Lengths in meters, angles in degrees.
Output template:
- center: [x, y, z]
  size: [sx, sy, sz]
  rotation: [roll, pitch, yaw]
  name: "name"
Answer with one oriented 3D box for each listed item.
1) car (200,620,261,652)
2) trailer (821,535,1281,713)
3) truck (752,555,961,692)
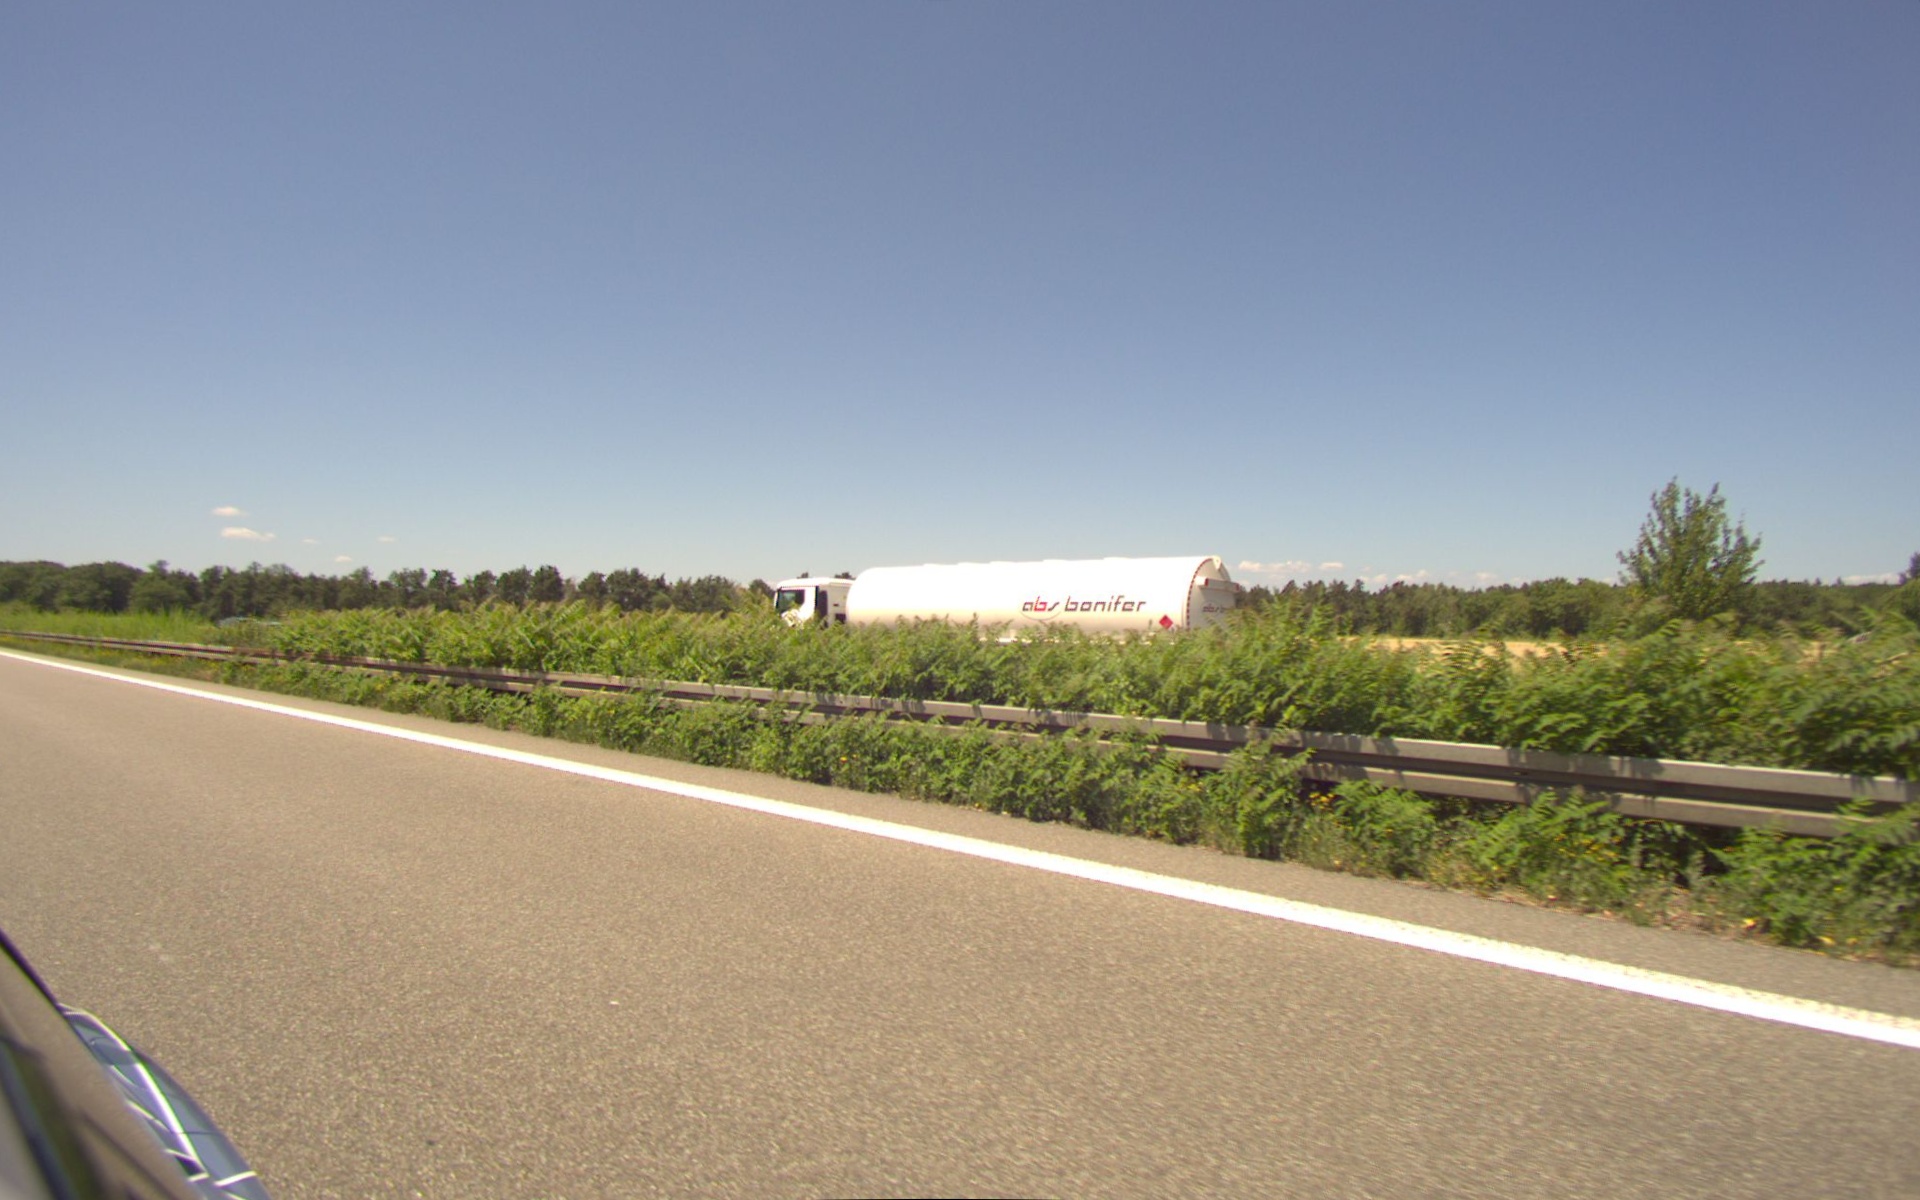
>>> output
- center: [-39.564, 1.946, 54.863]
  size: [3.999, 1.697, 1.786]
  rotation: [-1, -3, 42]
  name: "car"
- center: [1.656, 0.593, 25.155]
  size: [11.763, 3.543, 3.194]
  rotation: [-1, -2, 41]
  name: "trailer"
- center: [-3.055, 0.686, 29.259]
  size: [5.431, 3.543, 3.194]
  rotation: [-1, -2, 41]
  name: "truck"
